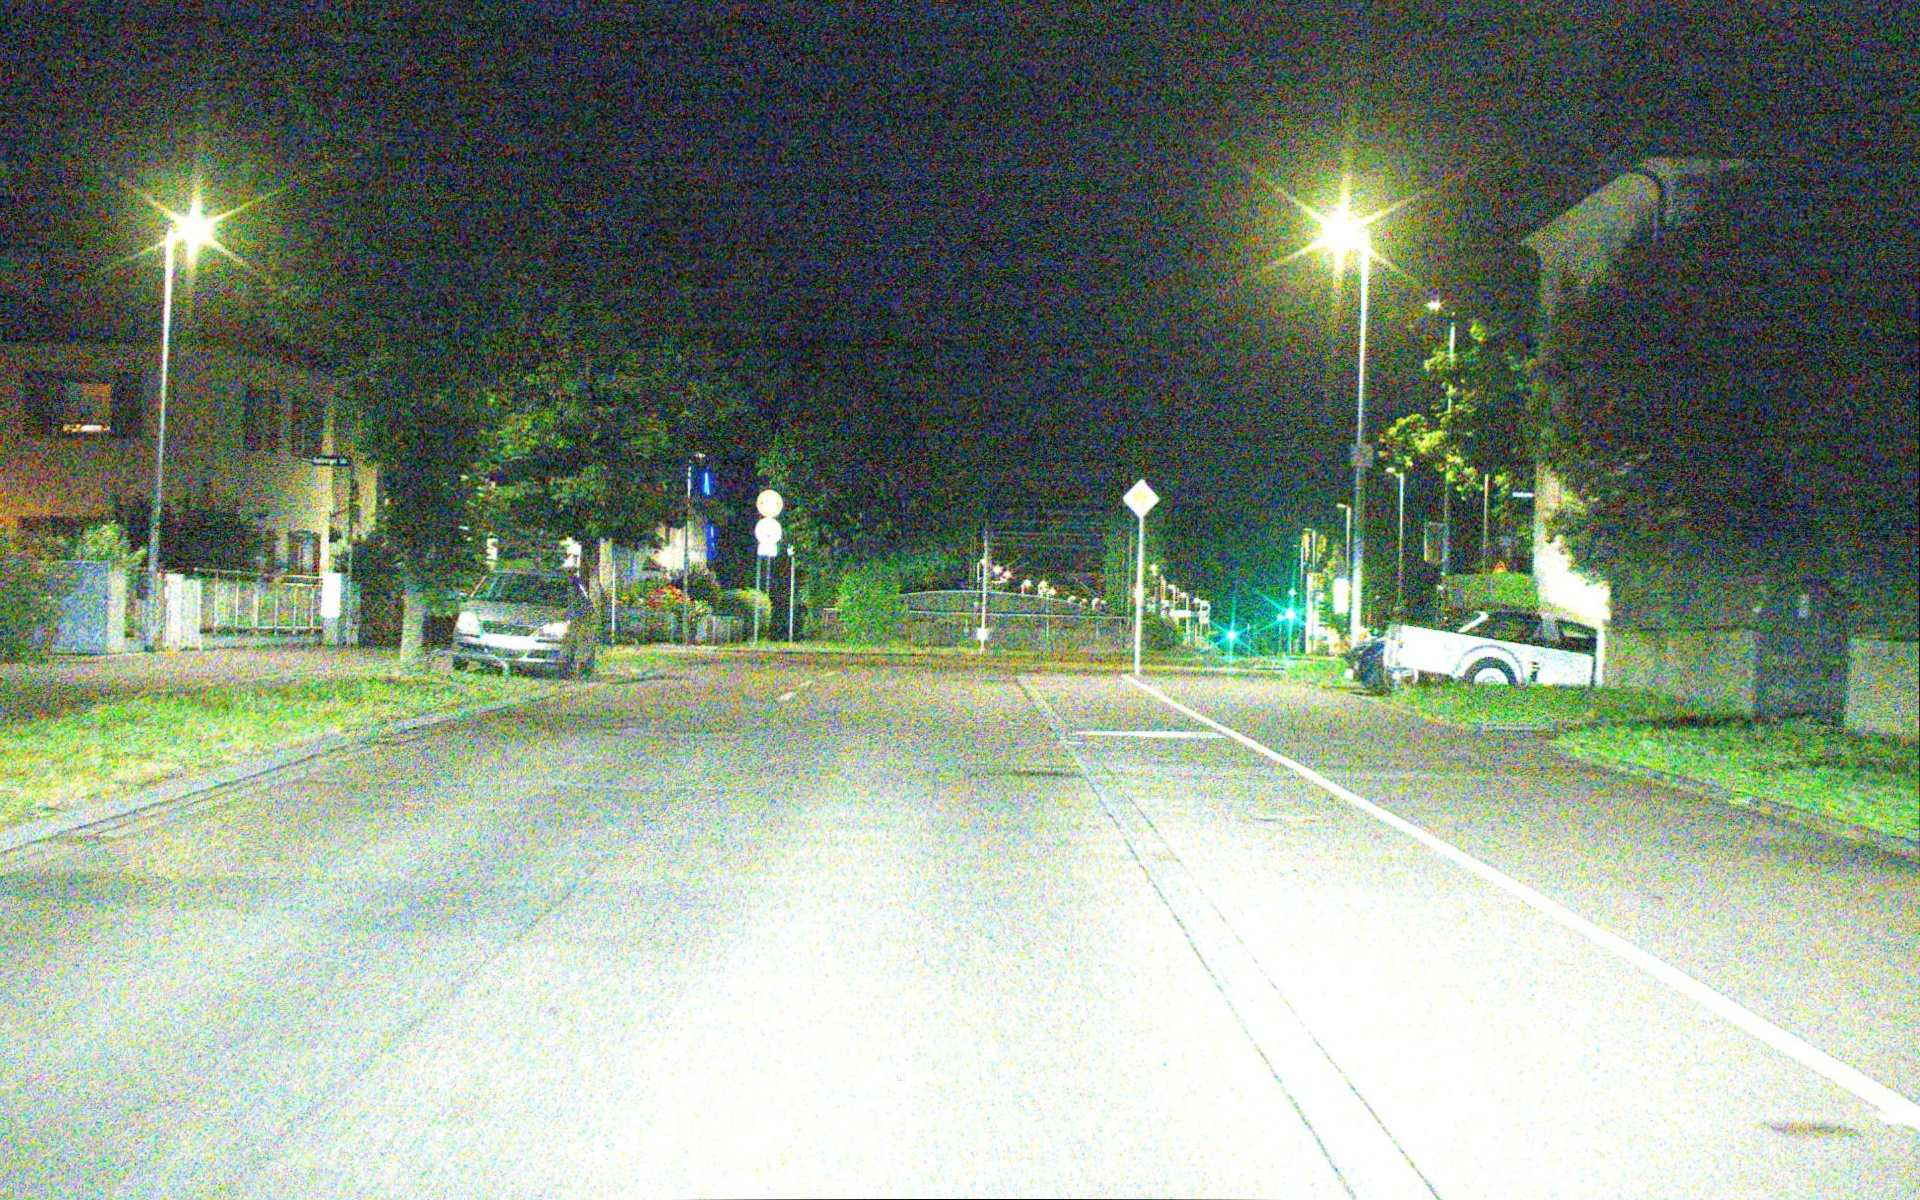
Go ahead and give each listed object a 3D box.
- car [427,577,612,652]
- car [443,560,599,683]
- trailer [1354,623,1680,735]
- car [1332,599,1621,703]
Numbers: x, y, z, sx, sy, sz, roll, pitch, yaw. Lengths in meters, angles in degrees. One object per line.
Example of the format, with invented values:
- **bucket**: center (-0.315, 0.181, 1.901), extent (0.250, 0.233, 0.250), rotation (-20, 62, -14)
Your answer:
- **car**: center (-9.952, 0.333, 77.760), extent (3.716, 1.621, 1.781), rotation (1, -1, 19)
- **car**: center (-6.068, 0.279, 47.915), extent (1.672, 1.585, 3.987), rotation (2, 0, -1)
- **trailer**: center (6.486, 0.908, 40.302), extent (3.432, 0.999, 1.954), rotation (4, 0, 0)
- **car**: center (6.598, 0.640, 44.111), extent (3.391, 1.228, 1.724), rotation (1, 1, -2)
